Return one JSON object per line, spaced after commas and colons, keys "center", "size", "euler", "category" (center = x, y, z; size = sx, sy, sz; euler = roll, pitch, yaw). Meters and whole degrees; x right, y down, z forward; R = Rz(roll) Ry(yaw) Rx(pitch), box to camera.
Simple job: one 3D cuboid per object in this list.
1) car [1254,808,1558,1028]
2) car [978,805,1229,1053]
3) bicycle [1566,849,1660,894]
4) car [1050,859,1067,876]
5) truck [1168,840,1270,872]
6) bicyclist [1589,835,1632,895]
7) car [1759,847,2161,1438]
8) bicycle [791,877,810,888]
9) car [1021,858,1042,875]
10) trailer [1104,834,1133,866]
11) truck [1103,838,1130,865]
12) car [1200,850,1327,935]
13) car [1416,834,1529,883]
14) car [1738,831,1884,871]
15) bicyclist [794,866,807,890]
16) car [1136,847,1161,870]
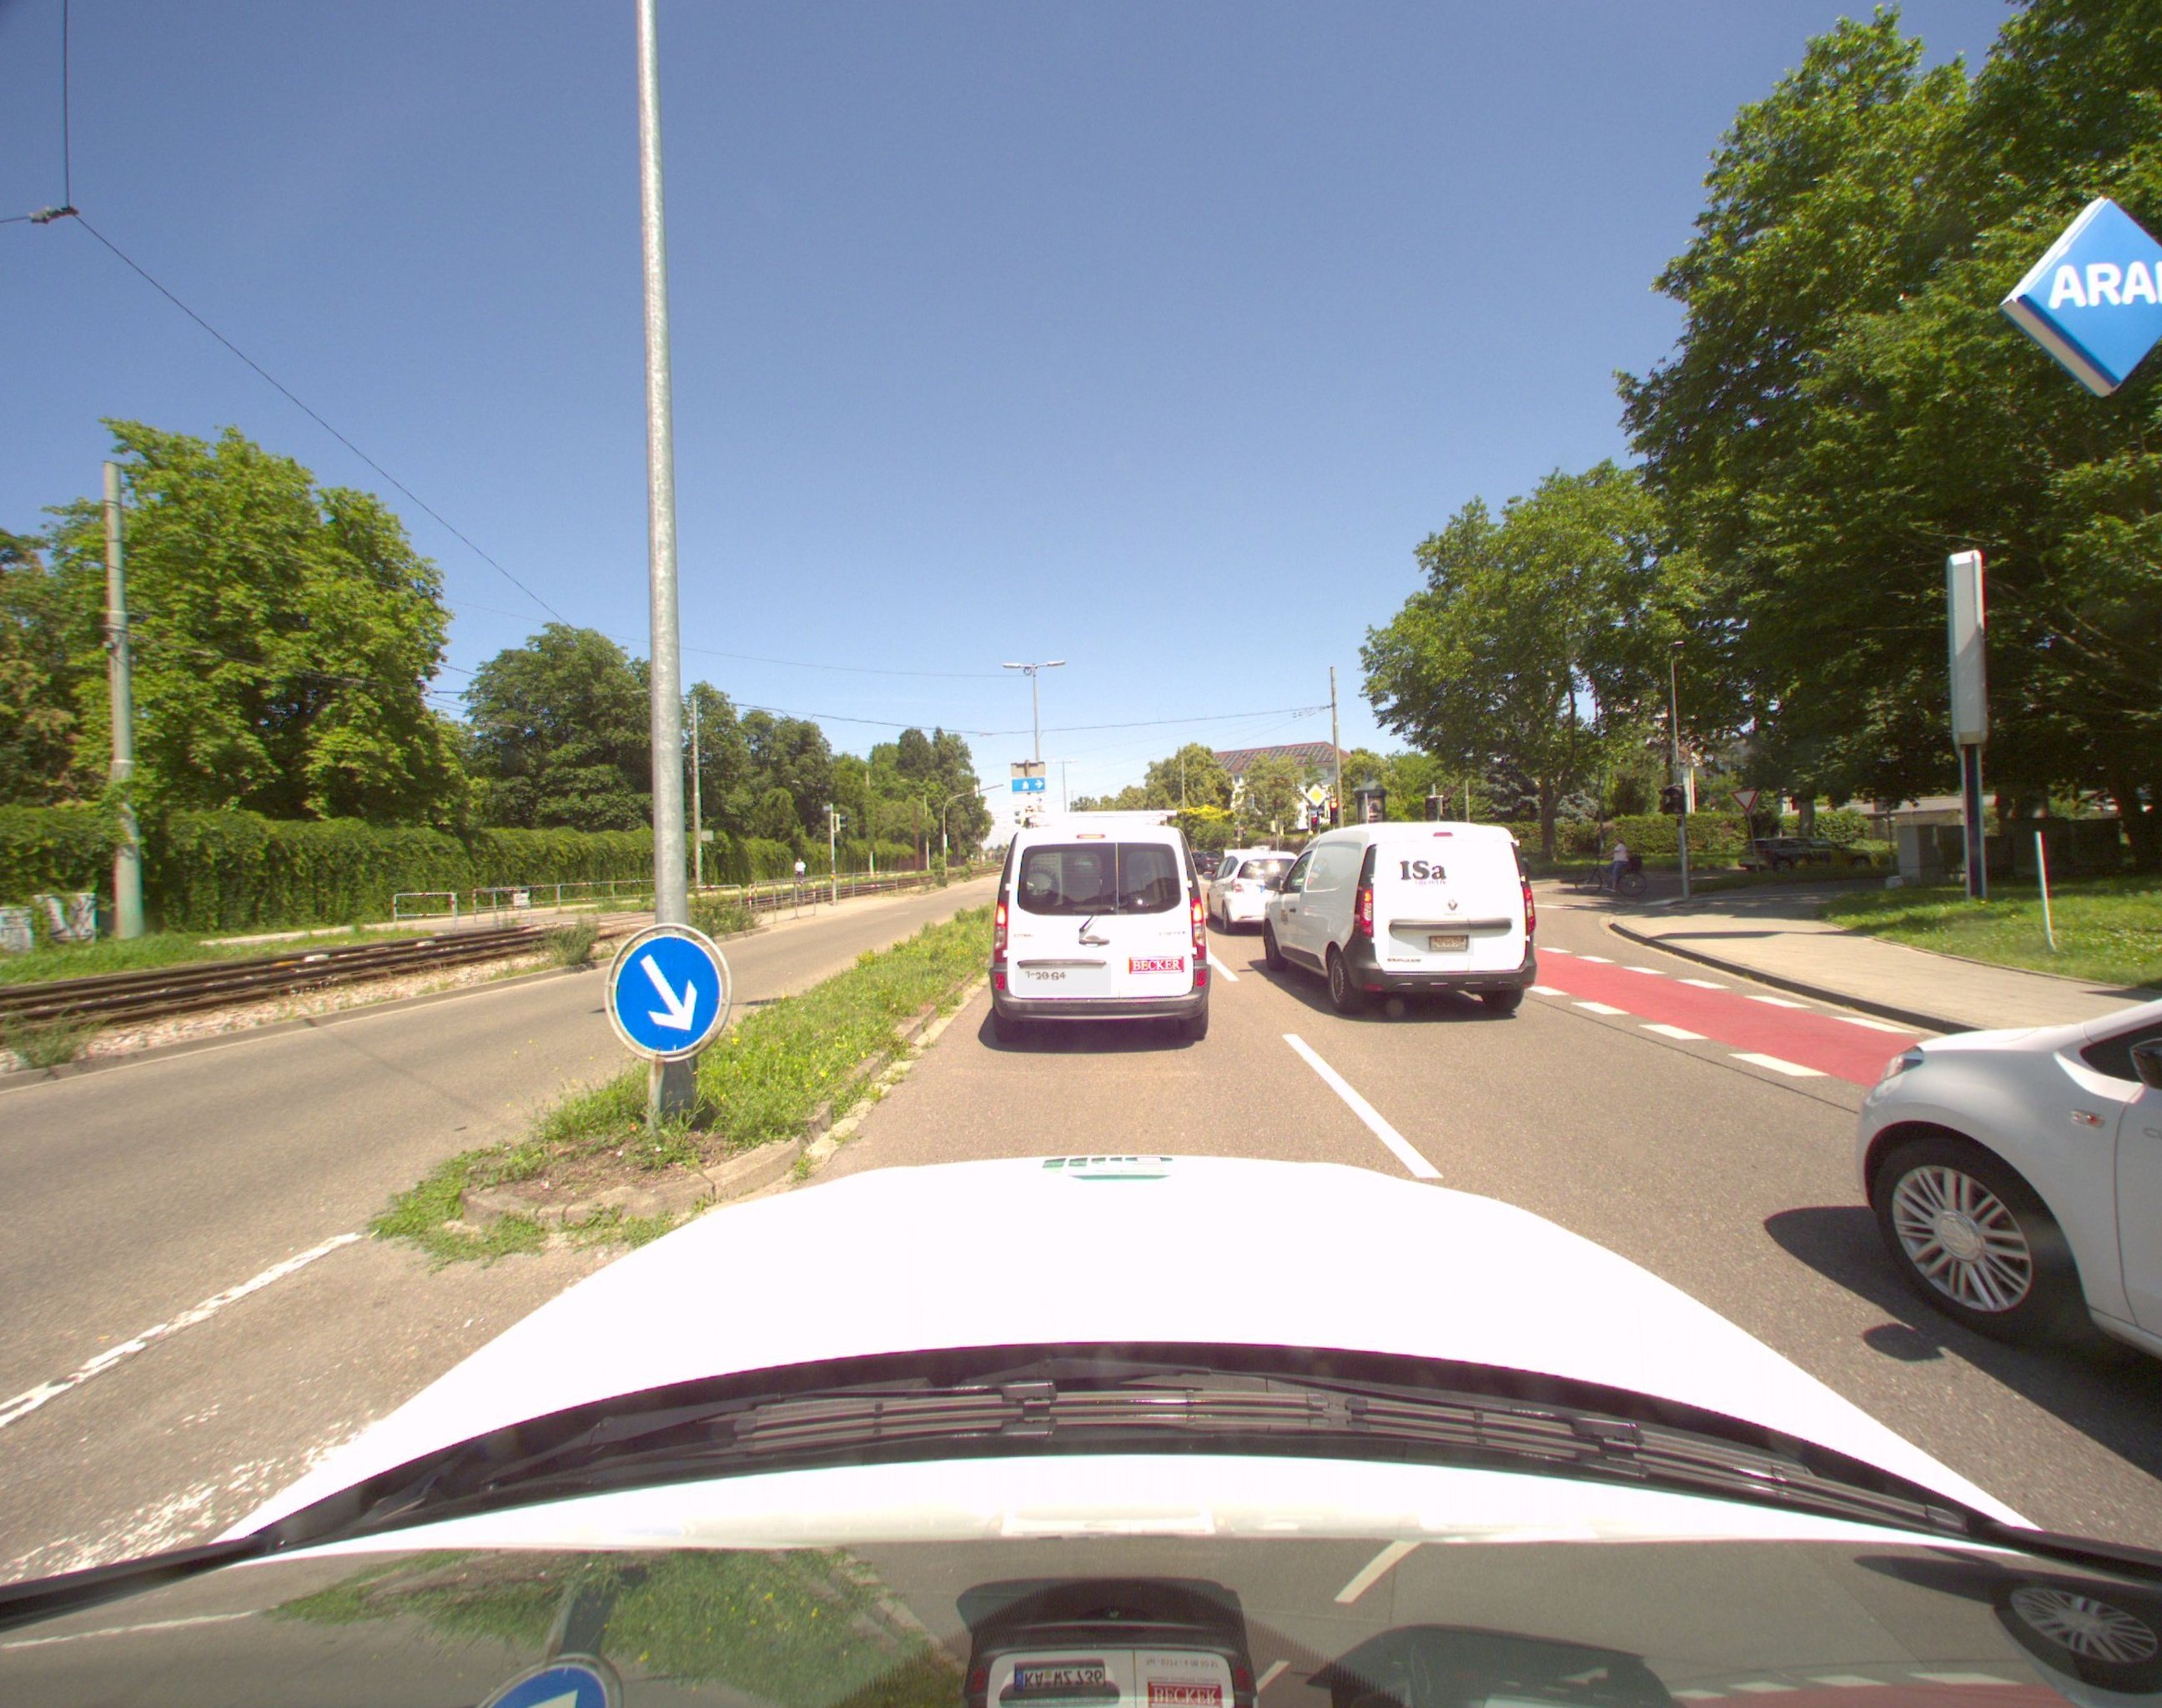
{"center": [3.207, 0.546, 8.961], "size": [1.705, 1.830, 4.013], "euler": [-2, 0, 0], "category": "car"}
{"center": [0.196, 0.564, 8.027], "size": [1.860, 1.836, 3.849], "euler": [-1, 0, 1], "category": "car"}
{"center": [15.683, 0.519, 24.051], "size": [2.240, 1.269, 0.892], "euler": [-2, 0, 37], "category": "bicycle"}
{"center": [-2.857, 1.717, 104.418], "size": [1.987, 2.013, 4.000], "euler": [-2, 0, 0], "category": "car"}
{"center": [9.473, 0.177, 56.434], "size": [6.640, 2.013, 2.321], "euler": [-2, 0, 40], "category": "truck"}
{"center": [15.654, 0.317, 24.078], "size": [0.945, 1.739, 1.139], "euler": [-2, 0, 37], "category": "bicyclist"}
{"center": [3.452, 0.711, 1.477], "size": [1.600, 1.451, 3.523], "euler": [-1, 0, 2], "category": "car"}
{"center": [-17.617, 1.797, 51.191], "size": [0.559, 0.647, 1.721], "euler": [-2, 0, 2], "category": "bicycle"}
{"center": [-4.183, 1.029, 68.659], "size": [1.688, 1.311, 3.879], "euler": [-2, 0, -3], "category": "car"}
{"center": [4.977, -0.541, 110.010], "size": [3.515, 4.050, 8.979], "euler": [-2, 0, 1], "category": "trailer"}
{"center": [5.153, -0.368, 118.907], "size": [3.564, 3.632, 8.808], "euler": [-2, 0, 0], "category": "truck"}
{"center": [3.521, 0.687, 16.407], "size": [1.749, 1.486, 4.001], "euler": [-1, 0, 1], "category": "car"}
{"center": [16.048, 0.186, 33.621], "size": [3.954, 1.860, 2.010], "euler": [-2, 0, 19], "category": "car"}
{"center": [28.083, -0.110, 31.441], "size": [3.964, 1.379, 1.549], "euler": [-2, 0, 11], "category": "car"}
{"center": [-17.629, 1.507, 51.231], "size": [0.556, 1.478, 0.562], "euler": [-2, 0, 2], "category": "bicyclist"}
{"center": [6.030, 0.392, 72.810], "size": [1.983, 1.915, 4.008], "euler": [-2, 0, 7], "category": "car"}
